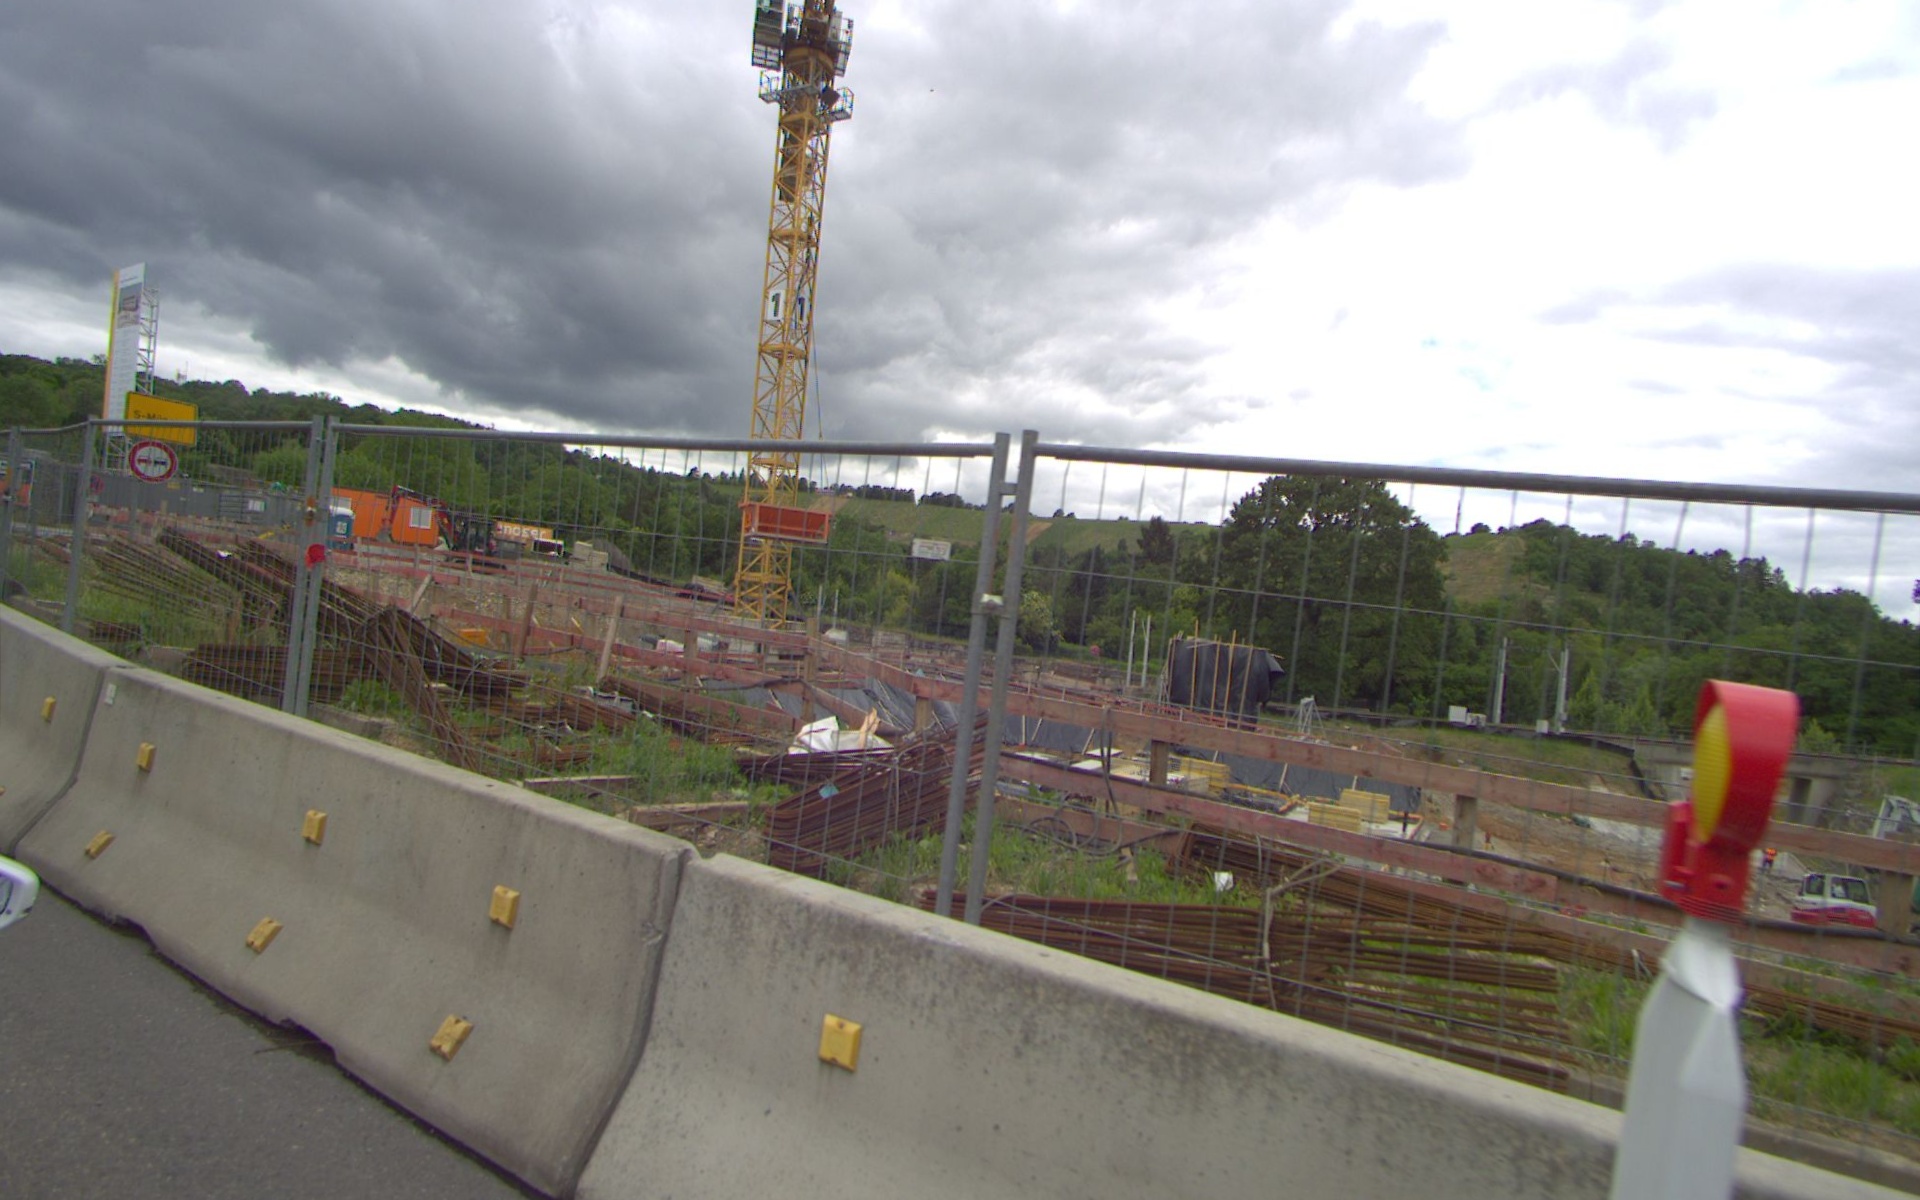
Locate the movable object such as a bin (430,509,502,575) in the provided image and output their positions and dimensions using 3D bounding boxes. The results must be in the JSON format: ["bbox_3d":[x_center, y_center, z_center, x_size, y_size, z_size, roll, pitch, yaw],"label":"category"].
[{"bbox_3d":[-26.230,-3.072,53.447,1.815,3.117,2.786,7,1,40],"label":"movable object such as a bin"}]

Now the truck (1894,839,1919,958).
[{"bbox_3d":[33.798,10.436,30.956,2.794,3.938,11.627,6,-2,20],"label":"truck"}]

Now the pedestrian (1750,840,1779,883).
[{"bbox_3d":[43.435,14.103,54.320,0.809,2.036,0.683,8,-2,19],"label":"pedestrian"}]

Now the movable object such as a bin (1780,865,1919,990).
[{"bbox_3d":[29.979,10.930,34.064,3.001,2.780,4.276,6,-2,37],"label":"movable object such as a bin"}]
